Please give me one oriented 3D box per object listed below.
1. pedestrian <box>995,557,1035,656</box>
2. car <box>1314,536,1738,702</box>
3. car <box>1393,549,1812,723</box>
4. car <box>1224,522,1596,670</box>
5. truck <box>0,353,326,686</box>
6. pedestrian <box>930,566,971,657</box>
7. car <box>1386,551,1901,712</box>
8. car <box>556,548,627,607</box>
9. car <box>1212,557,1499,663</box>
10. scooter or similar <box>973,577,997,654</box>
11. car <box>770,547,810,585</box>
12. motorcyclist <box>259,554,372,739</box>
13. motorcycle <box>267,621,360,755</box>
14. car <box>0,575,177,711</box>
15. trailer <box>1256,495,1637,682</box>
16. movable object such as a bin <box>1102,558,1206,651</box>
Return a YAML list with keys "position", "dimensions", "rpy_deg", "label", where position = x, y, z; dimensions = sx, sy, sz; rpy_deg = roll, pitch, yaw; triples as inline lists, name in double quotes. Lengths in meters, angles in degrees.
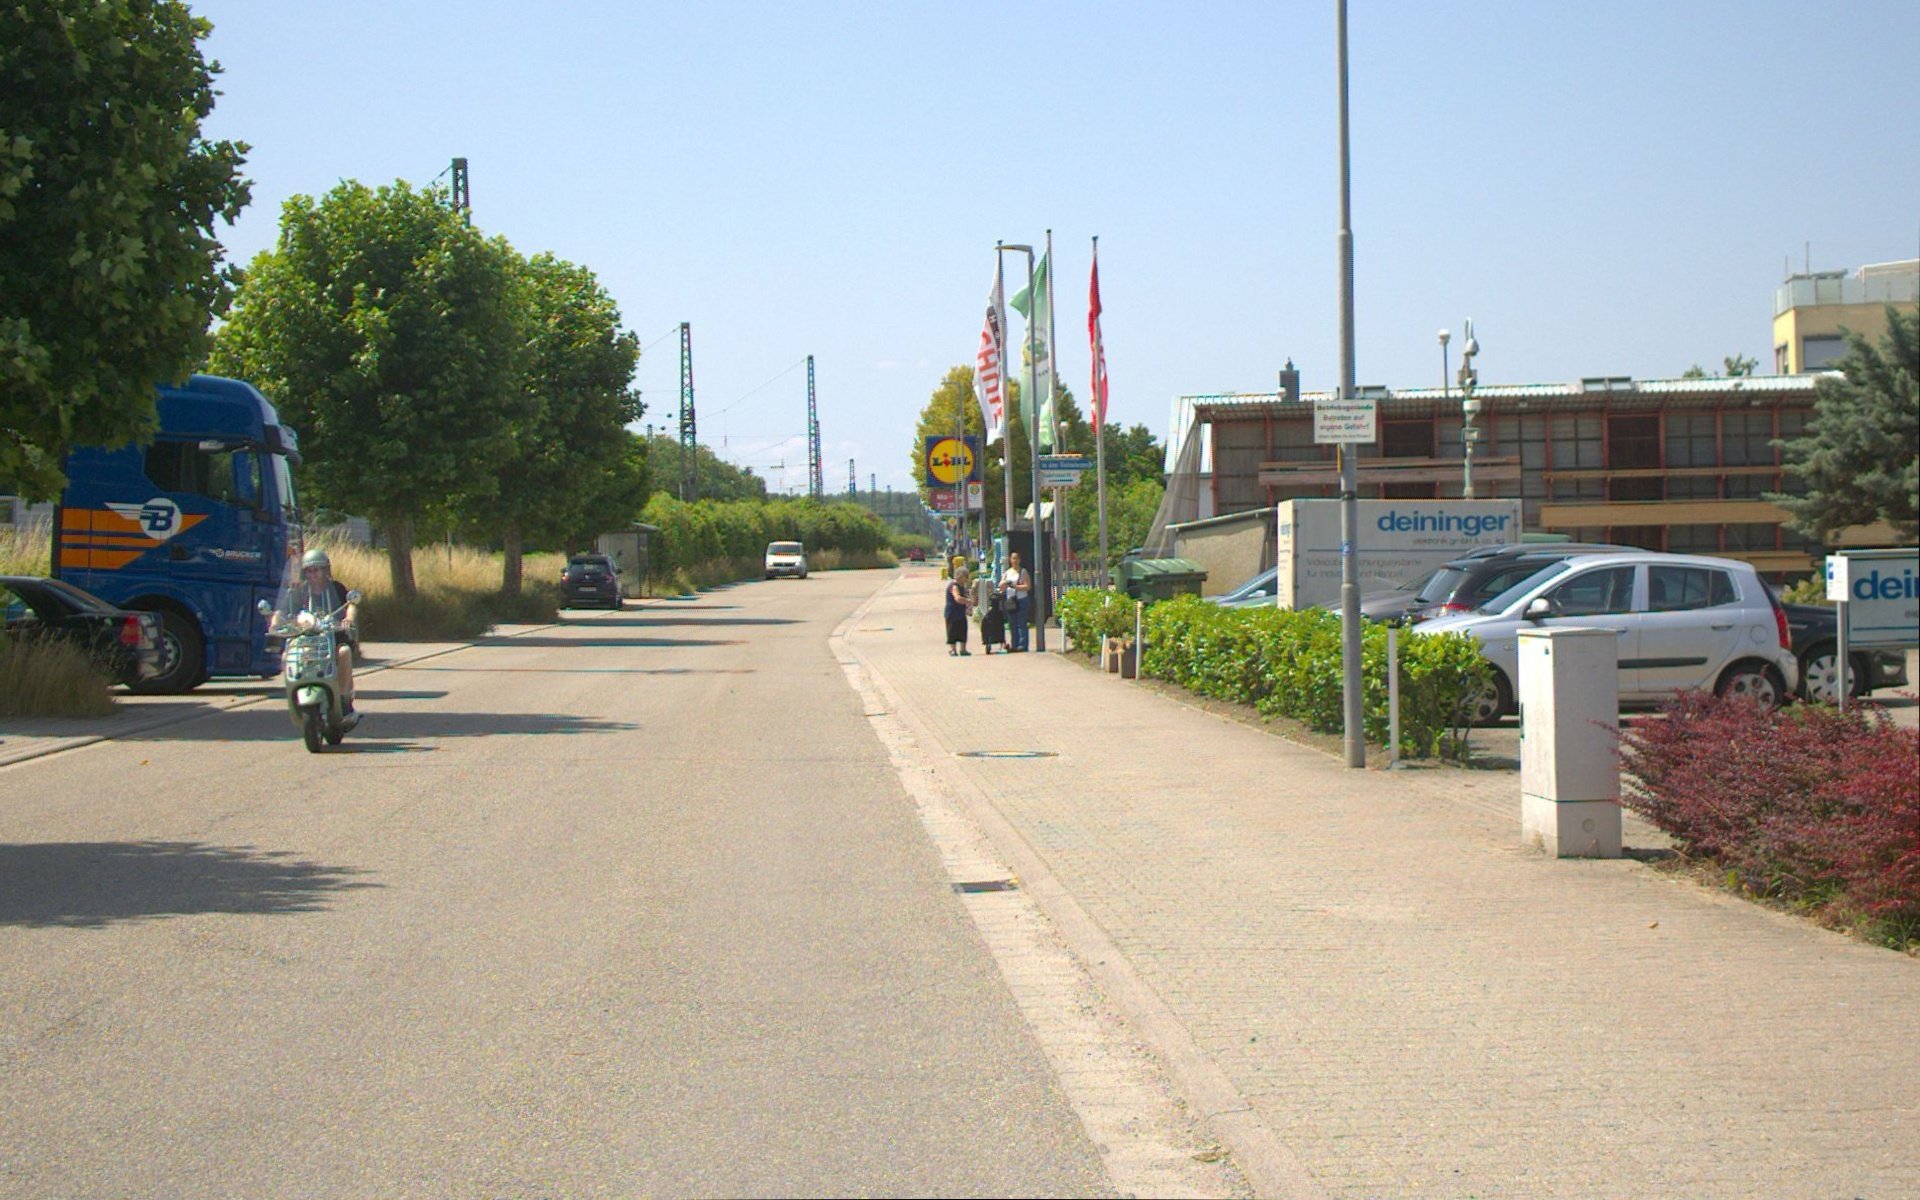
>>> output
- position: [0.867, 0.112, 54.368]
  dimensions: [0.535, 1.534, 0.511]
  rpy_deg: [-2, -1, -3]
  label: "pedestrian"
- position: [5.930, 0.208, 36.274]
  dimensions: [4.033, 1.569, 1.714]
  rpy_deg: [-2, -1, -7]
  label: "car"
- position: [5.623, 0.298, 30.395]
  dimensions: [3.353, 1.397, 1.770]
  rpy_deg: [-2, 1, 1]
  label: "car"
- position: [5.480, -0.032, 42.203]
  dimensions: [4.212, 1.628, 1.801]
  rpy_deg: [-2, -1, -3]
  label: "car"
- position: [-11.084, -0.926, 40.993]
  dimensions: [6.613, 3.810, 2.664]
  rpy_deg: [-1, 1, -4]
  label: "truck"
- position: [-0.150, 0.188, 54.419]
  dimensions: [0.565, 1.400, 0.584]
  rpy_deg: [-2, -1, -3]
  label: "pedestrian"
- position: [6.472, 0.278, 32.821]
  dimensions: [4.473, 1.435, 1.815]
  rpy_deg: [-1, 1, -5]
  label: "car"
- position: [-10.685, -0.679, 99.889]
  dimensions: [1.741, 1.590, 3.580]
  rpy_deg: [-3, 1, -3]
  label: "car"
- position: [5.599, 0.125, 49.012]
  dimensions: [3.845, 1.450, 1.817]
  rpy_deg: [0, 1, -1]
  label: "car"
- position: [0.396, 0.249, 54.434]
  dimensions: [0.334, 1.194, 0.398]
  rpy_deg: [-2, -1, -2]
  label: "scooter or similar"
- position: [-8.399, -1.688, 169.929]
  dimensions: [1.838, 1.852, 4.484]
  rpy_deg: [-1, 1, -2]
  label: "car"
- position: [-5.350, 0.379, 28.561]
  dimensions: [0.775, 1.504, 0.921]
  rpy_deg: [-1, 0, -2]
  label: "motorcyclist"
- position: [-5.346, 0.706, 28.496]
  dimensions: [0.463, 1.047, 1.955]
  rpy_deg: [-1, 0, -2]
  label: "motorcycle"
- position: [-10.621, 0.456, 36.613]
  dimensions: [4.208, 1.390, 1.872]
  rpy_deg: [-1, 1, -4]
  label: "car"
- position: [5.471, -0.138, 39.005]
  dimensions: [3.987, 2.007, 2.000]
  rpy_deg: [-1, 1, -1]
  label: "trailer"
- position: [3.063, 0.063, 54.331]
  dimensions: [1.264, 1.453, 1.049]
  rpy_deg: [0, 1, -39]
  label: "movable object such as a bin"
